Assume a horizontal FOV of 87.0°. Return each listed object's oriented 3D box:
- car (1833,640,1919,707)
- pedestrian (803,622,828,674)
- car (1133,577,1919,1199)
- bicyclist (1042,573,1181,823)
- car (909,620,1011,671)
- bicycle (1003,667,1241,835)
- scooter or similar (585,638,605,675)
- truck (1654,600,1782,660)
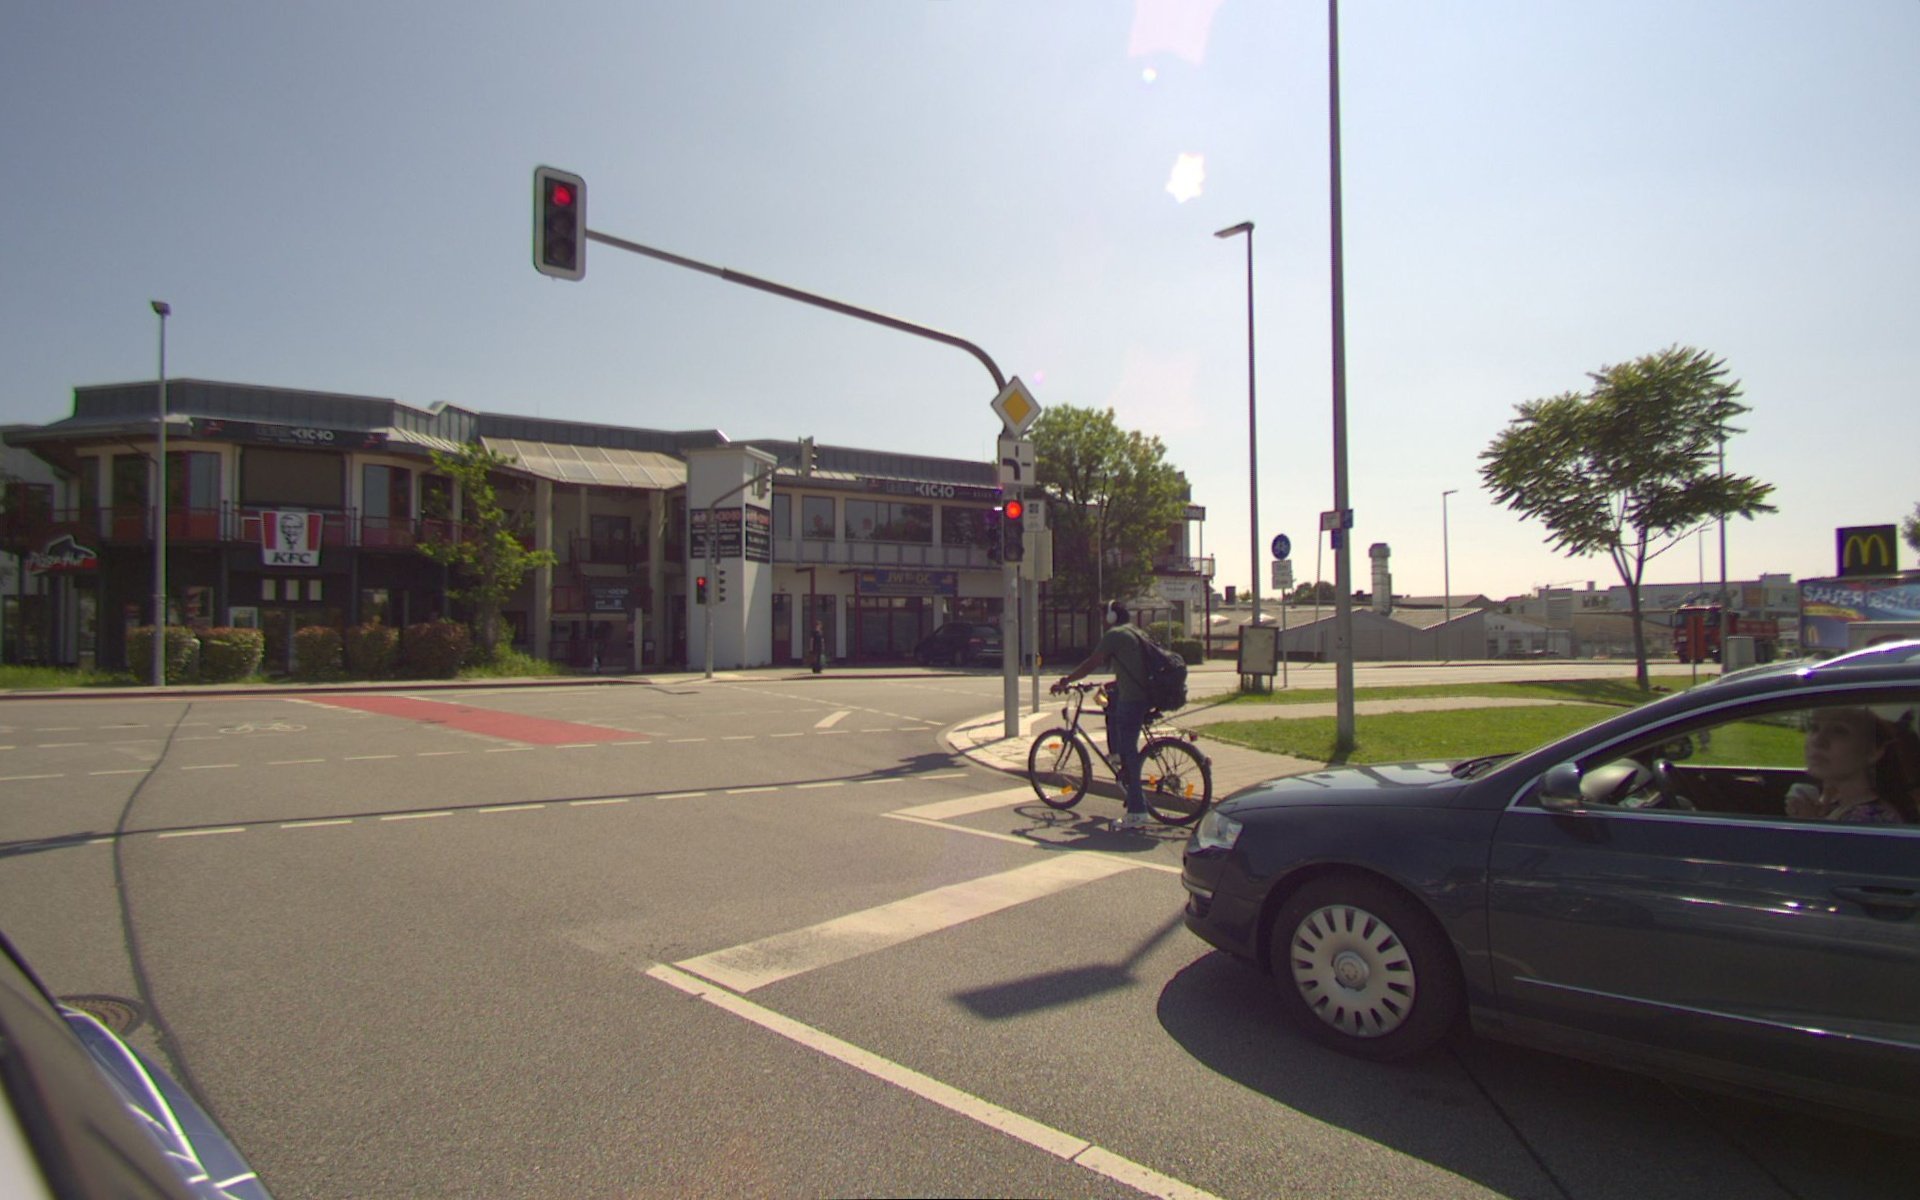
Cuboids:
[{"bbox_3d":[23.818,1.771,25.099,4.116,1.564,1.871,1,-2,-28],"label":"car"},{"bbox_3d":[-4.711,1.559,32.938,0.721,1.658,0.844,0,-2,-13],"label":"pedestrian"},{"bbox_3d":[3.008,0.720,3.035,4.722,1.508,1.760,-2,-3,43],"label":"car"},{"bbox_3d":[1.181,0.732,7.882,0.702,1.802,0.809,4,-4,-44],"label":"bicyclist"},{"bbox_3d":[-0.073,1.764,39.716,1.778,1.870,4.672,1,-3,-33],"label":"car"},{"bbox_3d":[1.208,1.094,7.835,0.689,1.113,1.756,4,-4,-44],"label":"bicycle"},{"bbox_3d":[-11.600,1.789,32.143,0.492,1.132,1.509,1,-2,-24],"label":"scooter or similar"},{"bbox_3d":[45.977,1.835,61.275,9.014,3.412,3.323,1,-3,-34],"label":"truck"}]
